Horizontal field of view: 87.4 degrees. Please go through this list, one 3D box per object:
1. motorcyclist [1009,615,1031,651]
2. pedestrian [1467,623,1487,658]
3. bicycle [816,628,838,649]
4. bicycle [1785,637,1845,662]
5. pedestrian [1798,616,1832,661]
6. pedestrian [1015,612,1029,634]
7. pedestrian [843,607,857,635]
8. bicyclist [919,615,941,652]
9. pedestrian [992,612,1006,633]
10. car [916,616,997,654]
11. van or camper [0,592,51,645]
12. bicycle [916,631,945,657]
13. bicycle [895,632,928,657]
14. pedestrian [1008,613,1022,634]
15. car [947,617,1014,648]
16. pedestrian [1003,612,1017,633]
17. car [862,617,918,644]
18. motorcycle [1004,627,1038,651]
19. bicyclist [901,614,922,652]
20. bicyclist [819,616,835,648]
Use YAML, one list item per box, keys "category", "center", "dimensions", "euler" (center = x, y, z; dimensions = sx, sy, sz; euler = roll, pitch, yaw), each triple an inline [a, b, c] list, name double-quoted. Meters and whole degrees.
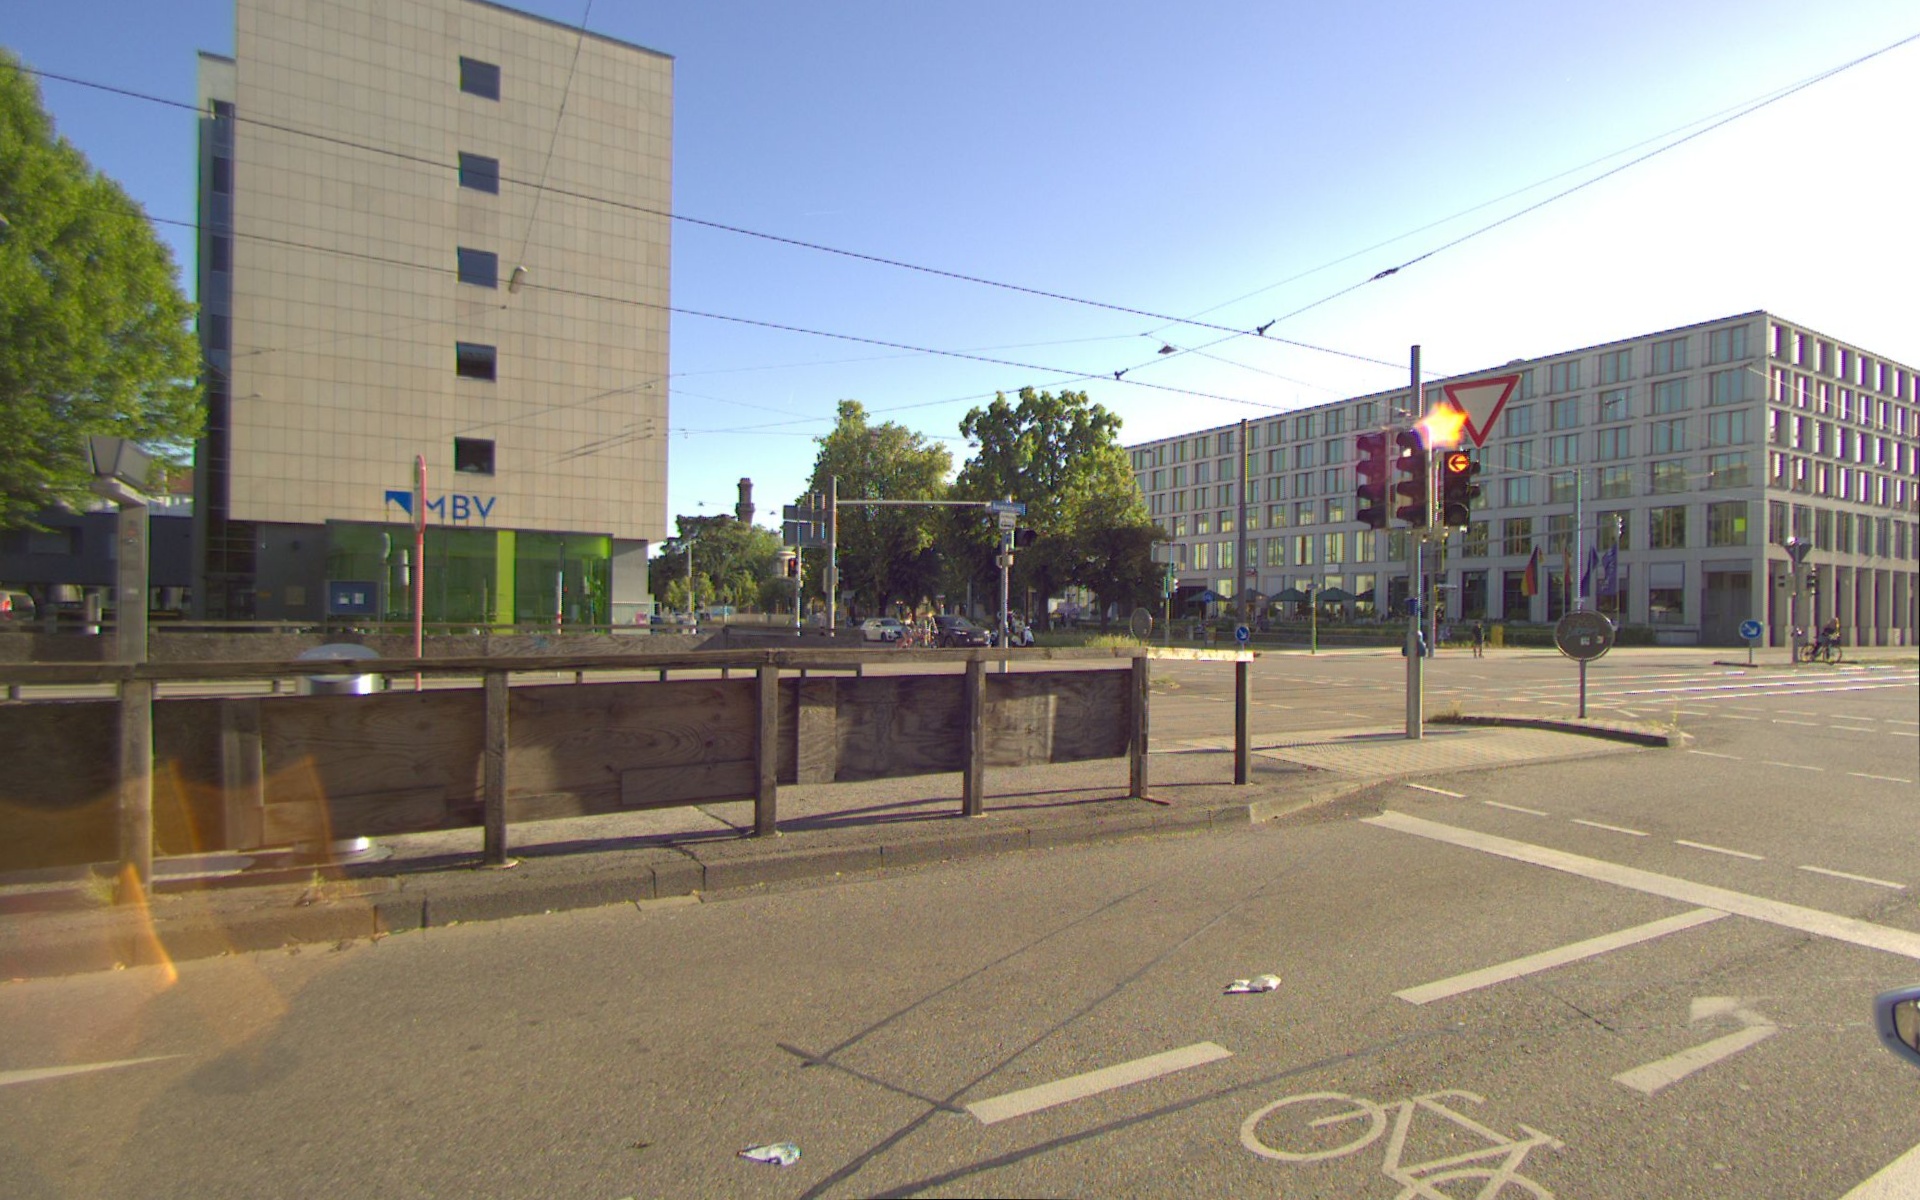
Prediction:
- category: "motorcyclist"
  center: [2.807, 1.539, 46.988]
  dimensions: [0.624, 1.601, 0.812]
  euler: [-3, 1, -28]
- category: "pedestrian"
  center: [25.076, 1.953, 48.709]
  dimensions: [0.596, 1.703, 0.604]
  euler: [1, -1, -12]
- category: "bicycle"
  center: [-6.914, 2.002, 52.125]
  dimensions: [0.576, 1.032, 1.666]
  euler: [1, -1, -27]
- category: "bicycle"
  center: [30.924, 1.785, 36.353]
  dimensions: [0.563, 0.834, 1.717]
  euler: [1, -1, -7]
- category: "pedestrian"
  center: [30.929, 1.389, 36.338]
  dimensions: [0.563, 1.616, 0.744]
  euler: [1, -1, -7]
- category: "pedestrian"
  center: [5.097, 1.889, 82.318]
  dimensions: [0.858, 1.738, 0.737]
  euler: [2, 0, -26]
- category: "pedestrian"
  center: [-8.152, 1.558, 74.140]
  dimensions: [0.772, 2.040, 0.747]
  euler: [1, -1, -31]
- category: "bicyclist"
  center: [-1.274, 1.400, 42.418]
  dimensions: [0.576, 1.563, 0.890]
  euler: [1, -1, -27]
- category: "pedestrian"
  center: [3.218, 1.835, 82.819]
  dimensions: [0.858, 1.738, 0.737]
  euler: [2, 0, -26]
- category: "car"
  center: [-0.194, 1.528, 44.588]
  dimensions: [1.925, 1.561, 3.969]
  euler: [2, -2, -29]
- category: "van or camper"
  center: [-27.890, 0.429, 27.570]
  dimensions: [3.954, 1.425, 1.954]
  euler: [4, -3, -30]
- category: "bicycle"
  center: [-1.268, 1.841, 42.383]
  dimensions: [0.576, 1.032, 1.666]
  euler: [1, -1, -27]
- category: "bicycle"
  center: [-2.039, 1.846, 42.022]
  dimensions: [0.577, 1.032, 1.806]
  euler: [1, -3, -31]
- category: "pedestrian"
  center: [4.615, 1.942, 84.762]
  dimensions: [0.858, 1.738, 0.737]
  euler: [2, 0, -26]
- category: "car"
  center: [1.019, 1.658, 52.209]
  dimensions: [1.674, 1.506, 3.719]
  euler: [1, -1, -33]
- category: "pedestrian"
  center: [4.175, 1.866, 83.185]
  dimensions: [0.858, 1.738, 0.737]
  euler: [2, 0, -26]
- category: "car"
  center: [-4.247, 1.799, 60.404]
  dimensions: [1.975, 1.537, 3.971]
  euler: [1, -1, -28]
- category: "motorcycle"
  center: [2.847, 1.821, 46.957]
  dimensions: [0.624, 1.030, 1.972]
  euler: [-3, 1, -28]
- category: "bicyclist"
  center: [-2.034, 1.368, 42.018]
  dimensions: [0.577, 1.563, 0.833]
  euler: [1, -2, -32]
- category: "bicyclist"
  center: [-6.892, 1.642, 52.095]
  dimensions: [0.576, 1.658, 0.890]
  euler: [1, -1, -27]
